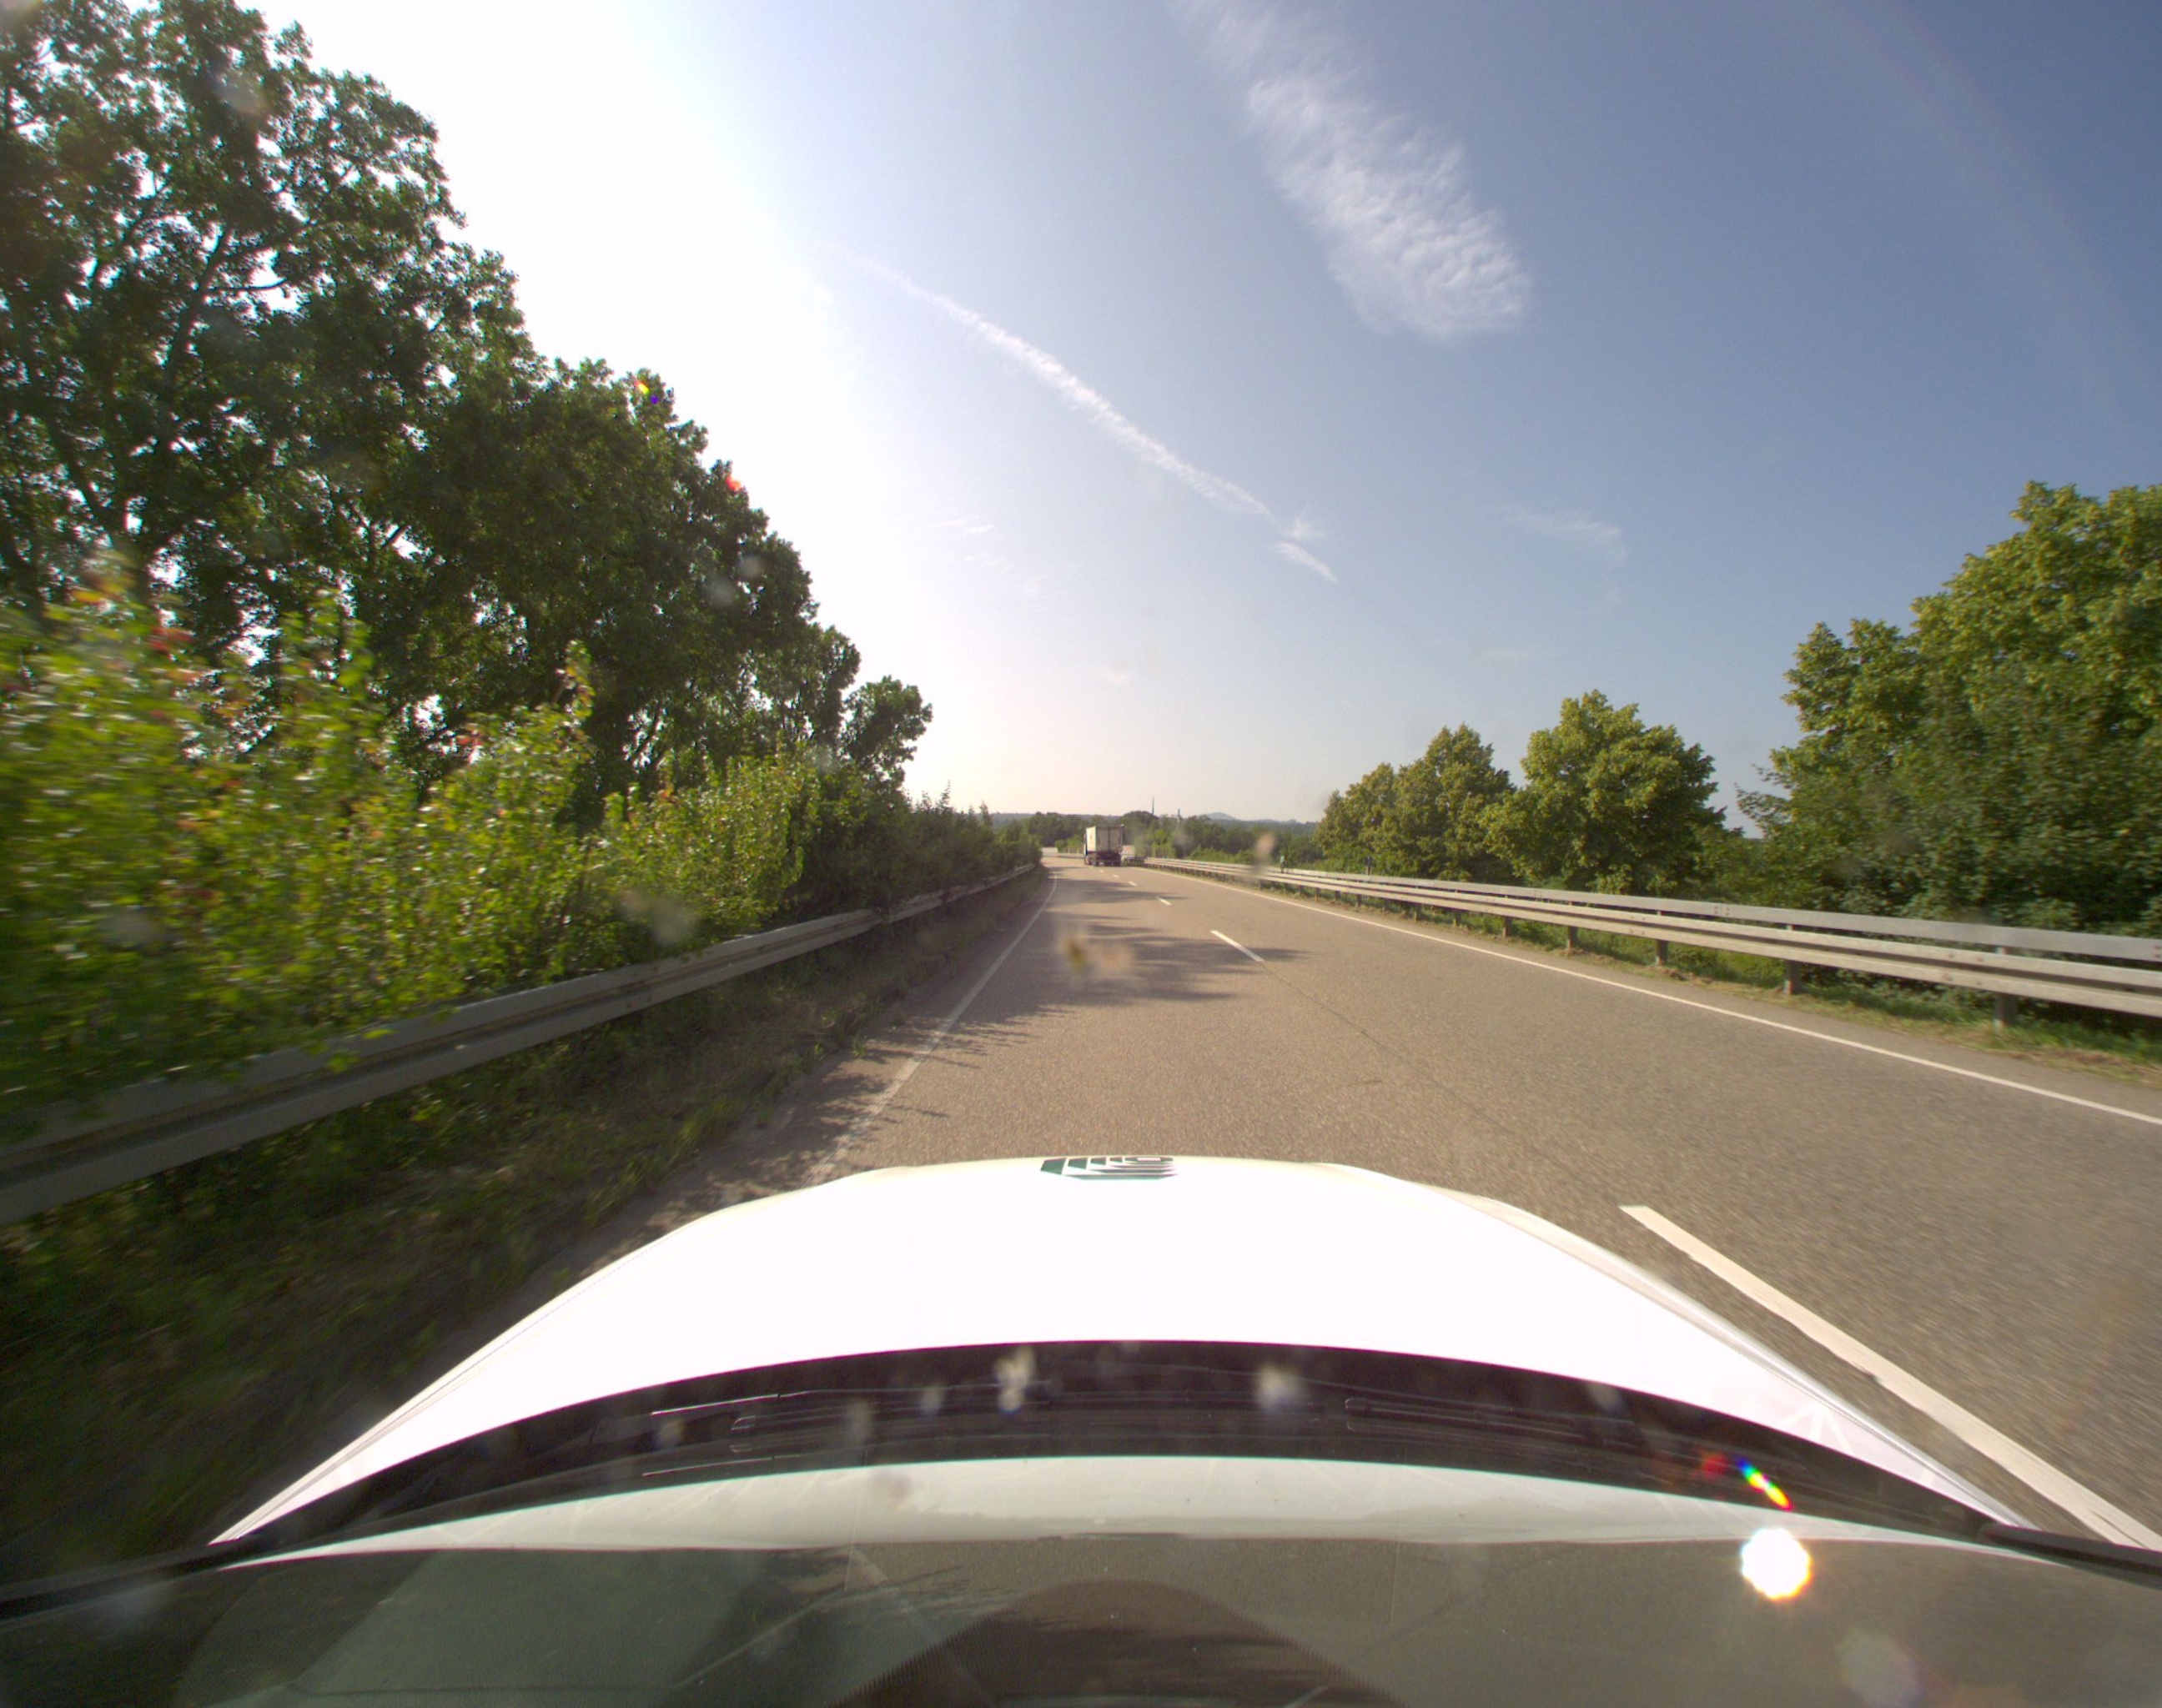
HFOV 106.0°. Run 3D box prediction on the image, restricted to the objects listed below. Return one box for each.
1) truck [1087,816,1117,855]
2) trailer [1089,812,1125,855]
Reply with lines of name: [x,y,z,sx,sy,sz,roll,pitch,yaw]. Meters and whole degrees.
truck: [2.140,-1.902,84.258,2.652,3.896,5.642,0,0,-3]
trailer: [2.400,-1.861,78.418,2.673,3.907,9.661,0,0,-3]
